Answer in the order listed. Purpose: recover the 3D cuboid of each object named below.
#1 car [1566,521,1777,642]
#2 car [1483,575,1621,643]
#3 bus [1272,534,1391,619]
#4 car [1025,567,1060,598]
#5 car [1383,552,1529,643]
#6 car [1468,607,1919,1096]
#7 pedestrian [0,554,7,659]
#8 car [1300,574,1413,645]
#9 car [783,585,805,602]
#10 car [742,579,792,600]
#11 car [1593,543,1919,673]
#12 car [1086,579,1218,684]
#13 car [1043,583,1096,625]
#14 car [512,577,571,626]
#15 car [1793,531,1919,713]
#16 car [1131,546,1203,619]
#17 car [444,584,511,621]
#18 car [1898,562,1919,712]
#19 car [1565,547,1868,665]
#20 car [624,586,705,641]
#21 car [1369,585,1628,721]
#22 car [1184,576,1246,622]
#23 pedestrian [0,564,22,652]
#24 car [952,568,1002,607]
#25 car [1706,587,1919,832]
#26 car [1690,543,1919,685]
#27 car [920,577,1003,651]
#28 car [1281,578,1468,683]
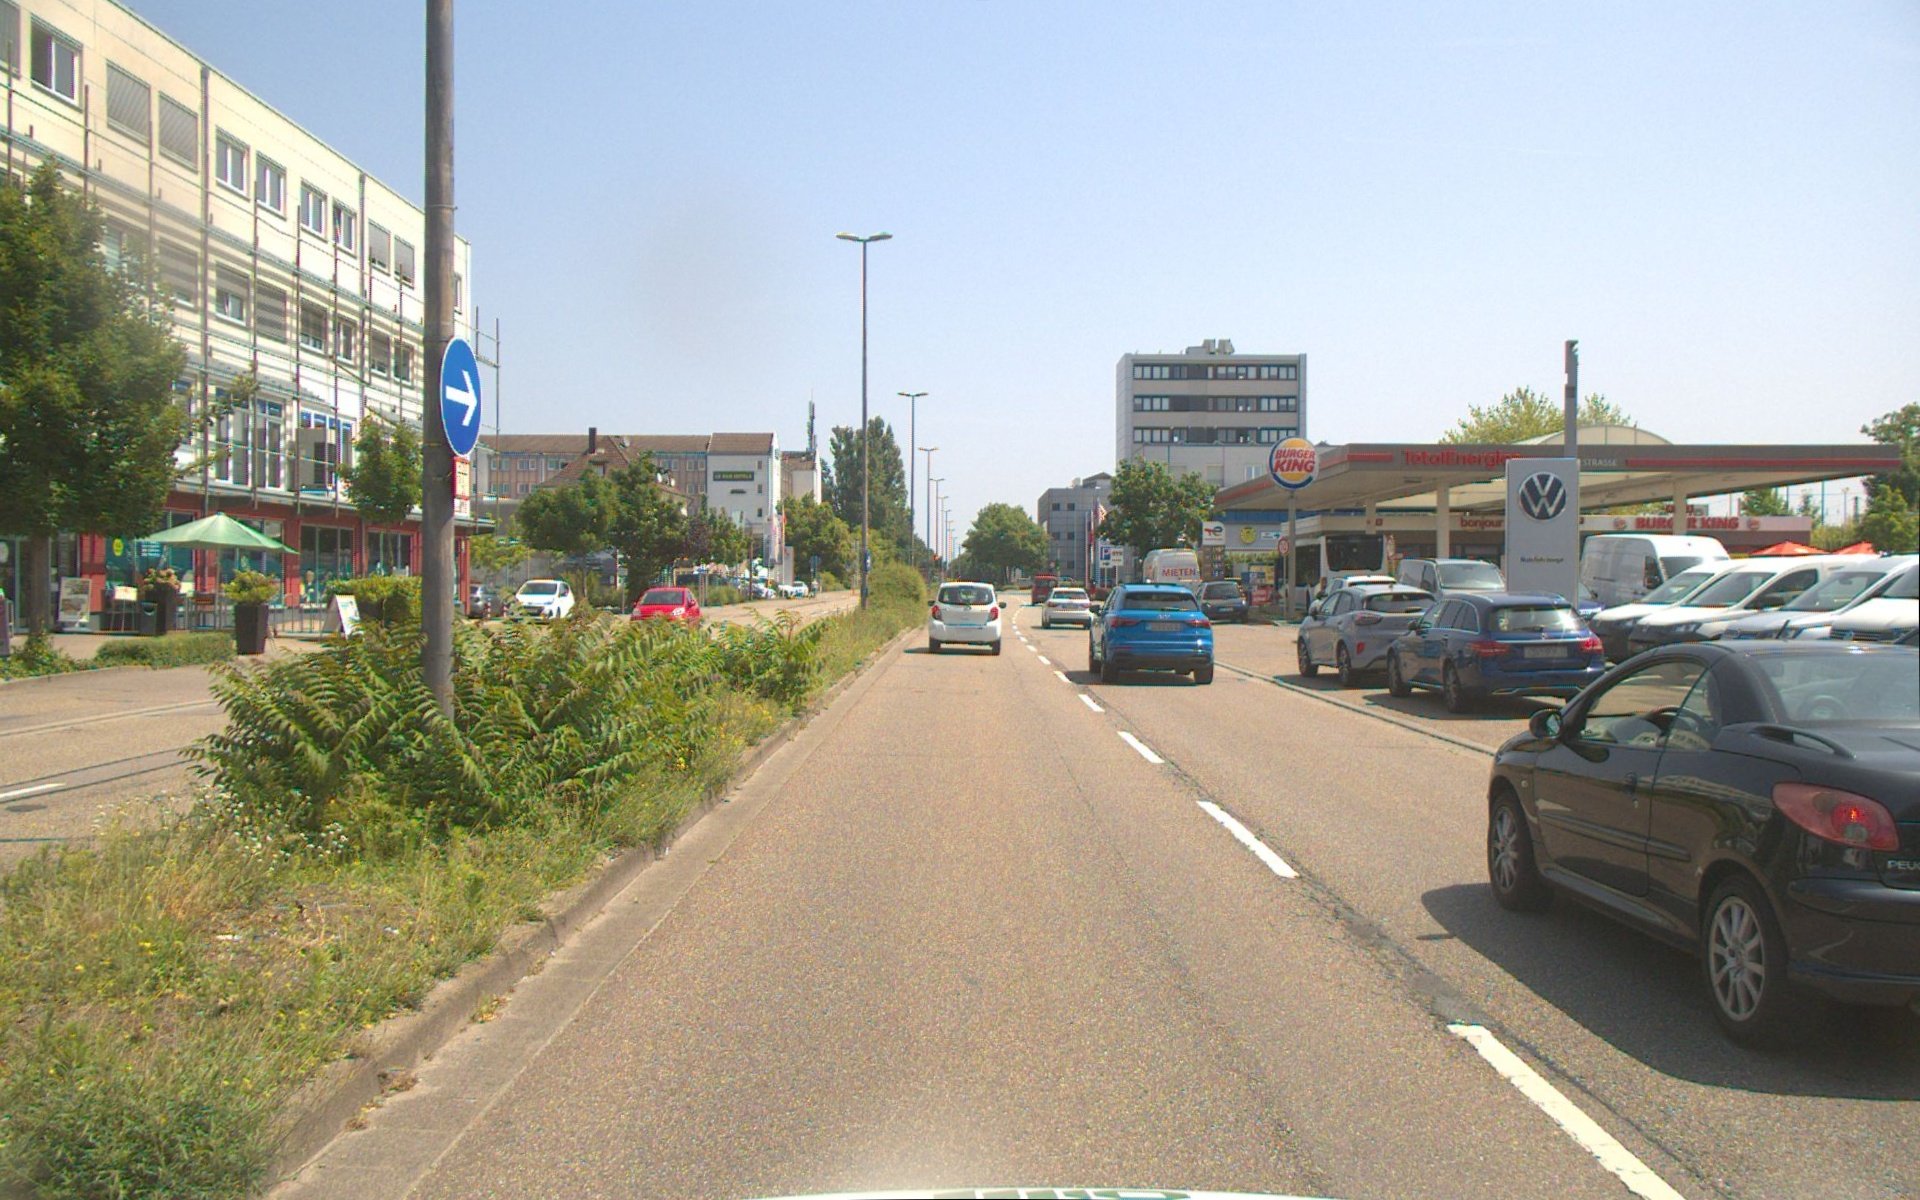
[{"bbox_3d":[17.407,-0.447,40.982,2.210,2.722,7.018,-1,1,0],"label":"car"},{"bbox_3d":[14.576,0.180,40.986,1.708,1.540,4.600,2,1,0],"label":"car"},{"bbox_3d":[14.896,-1.014,67.277,2.746,3.132,12.291,1,1,3],"label":"bus"},{"bbox_3d":[4.994,-1.069,100.947,1.758,1.759,3.971,1,-1,-2],"label":"car"},{"bbox_3d":[12.081,-0.066,40.666,1.953,2.058,5.159,1,0,-1],"label":"car"},{"bbox_3d":[3.471,0.782,6.855,1.567,1.450,3.661,1,0,0],"label":"car"},{"bbox_3d":[-17.584,0.120,29.668,0.661,1.899,0.498,-1,0,0],"label":"pedestrian"},{"bbox_3d":[9.685,0.190,40.712,1.633,1.624,4.612,-1,1,0],"label":"car"},{"bbox_3d":[-15.027,-0.545,149.622,1.864,1.378,3.995,1,-2,-5],"label":"car"},{"bbox_3d":[-16.008,-0.856,137.319,3.904,1.579,1.866,1,-2,2],"label":"car"},{"bbox_3d":[12.302,0.143,25.379,4.463,1.921,1.856,0,-2,-1],"label":"car"},{"bbox_3d":[3.190,0.468,28.237,1.873,1.625,4.397,1,1,2],"label":"car"},{"bbox_3d":[3.832,0.127,58.209,1.633,1.423,3.793,1,0,1],"label":"car"},{"bbox_3d":[-14.578,0.084,57.774,1.648,1.521,4.032,2,-2,-10],"label":"car"},{"bbox_3d":[12.719,0.179,19.755,4.547,2.048,1.959,-2,1,-2],"label":"car"},{"bbox_3d":[8.980,-0.757,72.388,2.090,2.888,7.309,-3,1,0],"label":"car"},{"bbox_3d":[-21.566,0.149,74.053,1.733,1.574,4.000,0,-1,1],"label":"car"},{"bbox_3d":[11.950,0.425,17.065,3.553,1.598,1.717,1,0,5],"label":"car"},{"bbox_3d":[12.877,0.090,28.334,4.323,1.915,1.909,-1,0,-1],"label":"car"},{"bbox_3d":[-8.314,0.365,46.772,1.597,1.449,3.450,-2,0,1],"label":"car"},{"bbox_3d":[6.913,0.629,21.806,1.679,1.575,4.788,-1,0,-2],"label":"car"},{"bbox_3d":[9.040,-0.052,58.871,1.623,1.545,3.819,-1,0,0],"label":"car"},{"bbox_3d":[-18.092,0.157,31.239,0.519,1.648,0.392,-1,0,0],"label":"pedestrian"},{"bbox_3d":[0.663,-0.482,67.684,1.793,1.475,3.998,1,-1,-2],"label":"car"},{"bbox_3d":[6.891,0.678,10.401,1.818,1.507,5.153,-1,0,-3],"label":"car"},{"bbox_3d":[12.438,0.189,22.578,4.066,1.812,1.881,-1,-2,-1],"label":"car"},{"bbox_3d":[-0.001,0.343,37.005,1.678,1.537,3.245,1,-2,-3],"label":"car"},{"bbox_3d":[6.698,0.448,27.179,1.699,1.579,4.176,1,1,-5],"label":"car"}]
